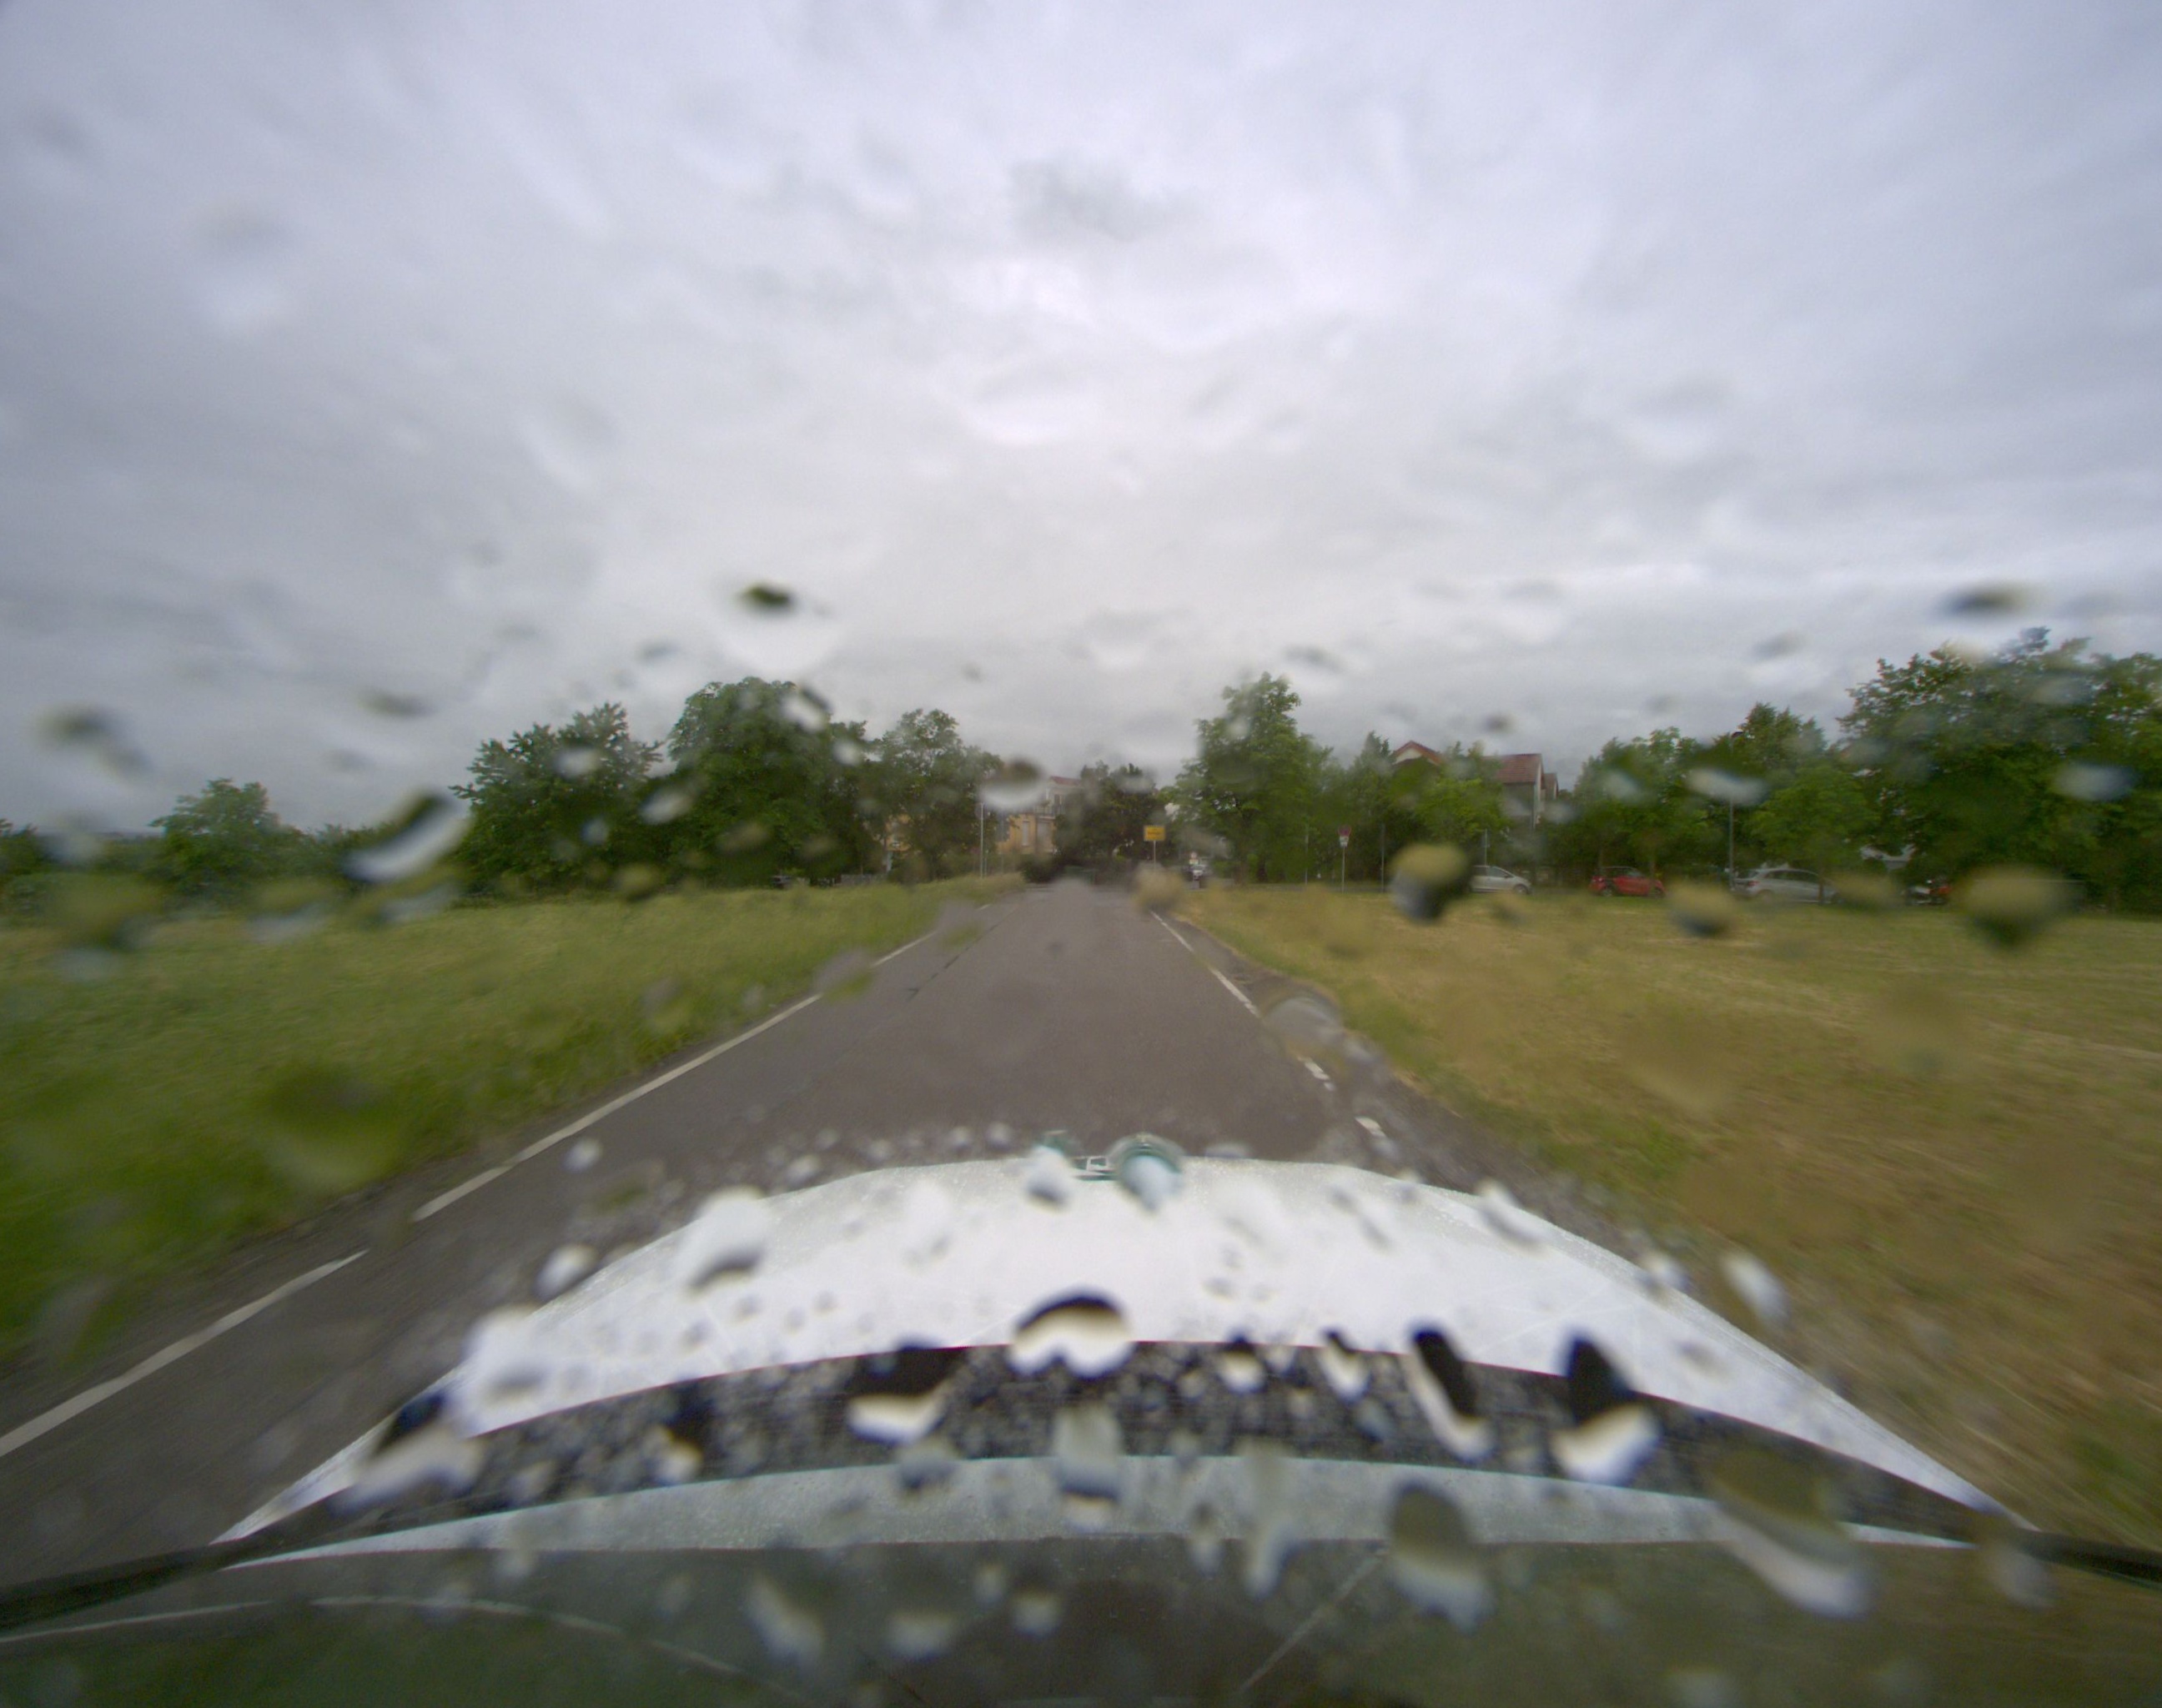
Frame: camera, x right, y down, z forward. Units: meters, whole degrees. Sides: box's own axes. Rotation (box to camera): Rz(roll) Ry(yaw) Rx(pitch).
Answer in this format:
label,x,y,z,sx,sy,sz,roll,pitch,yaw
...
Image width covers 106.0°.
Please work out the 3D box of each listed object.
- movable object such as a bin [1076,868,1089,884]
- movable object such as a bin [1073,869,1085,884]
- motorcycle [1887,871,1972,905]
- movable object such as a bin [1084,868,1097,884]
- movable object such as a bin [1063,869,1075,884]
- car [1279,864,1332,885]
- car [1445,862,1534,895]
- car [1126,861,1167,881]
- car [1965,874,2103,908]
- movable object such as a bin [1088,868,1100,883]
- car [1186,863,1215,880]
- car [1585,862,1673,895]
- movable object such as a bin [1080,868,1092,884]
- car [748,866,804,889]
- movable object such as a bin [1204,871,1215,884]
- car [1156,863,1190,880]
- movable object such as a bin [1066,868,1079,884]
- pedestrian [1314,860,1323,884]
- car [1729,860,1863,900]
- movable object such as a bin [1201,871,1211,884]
label,x,y,z,sx,sy,sz,roll,pitch,yaw
movable object such as a bin,0.101,1.541,56.489,0.688,1.075,0.546,0,-1,21
movable object such as a bin,-0.127,1.540,55.920,0.688,1.075,0.605,0,-1,21
motorcycle,34.992,1.400,33.618,2.242,1.302,0.974,1,0,12
movable object such as a bin,0.678,1.550,57.634,0.688,1.055,0.608,0,-1,21
movable object such as a bin,-0.816,1.546,56.180,0.659,1.073,0.546,-1,-1,22
car,18.904,1.738,68.594,3.948,1.664,1.791,-2,-2,37
car,19.090,1.124,38.192,3.514,1.479,1.687,0,-2,18
car,5.402,1.416,67.168,1.759,1.518,4.162,2,0,29
car,38.566,1.462,33.042,3.295,1.281,1.739,0,-1,12
movable object such as a bin,0.958,1.544,58.293,0.688,1.055,0.608,0,-1,21
car,11.259,1.660,76.743,1.496,1.476,3.294,2,0,32
car,24.582,1.092,36.625,2.978,1.436,1.561,1,-1,18
movable object such as a bin,0.361,1.542,57.074,0.688,1.067,0.582,0,-1,21
car,-21.314,1.604,56.878,3.649,1.552,1.702,-1,-2,31
movable object such as a bin,9.458,1.738,59.972,0.565,0.931,0.533,0,-1,34
car,8.208,1.581,72.318,1.619,1.409,3.627,2,0,31
movable object such as a bin,-0.578,1.543,56.770,0.688,1.072,0.601,0,-1,21
pedestrian,19.498,1.483,66.831,0.552,2.014,0.528,-1,-1,32
car,30.660,1.096,35.032,3.949,1.552,1.858,1,-1,13
movable object such as a bin,9.125,1.725,59.484,0.565,0.931,0.533,0,-1,34
